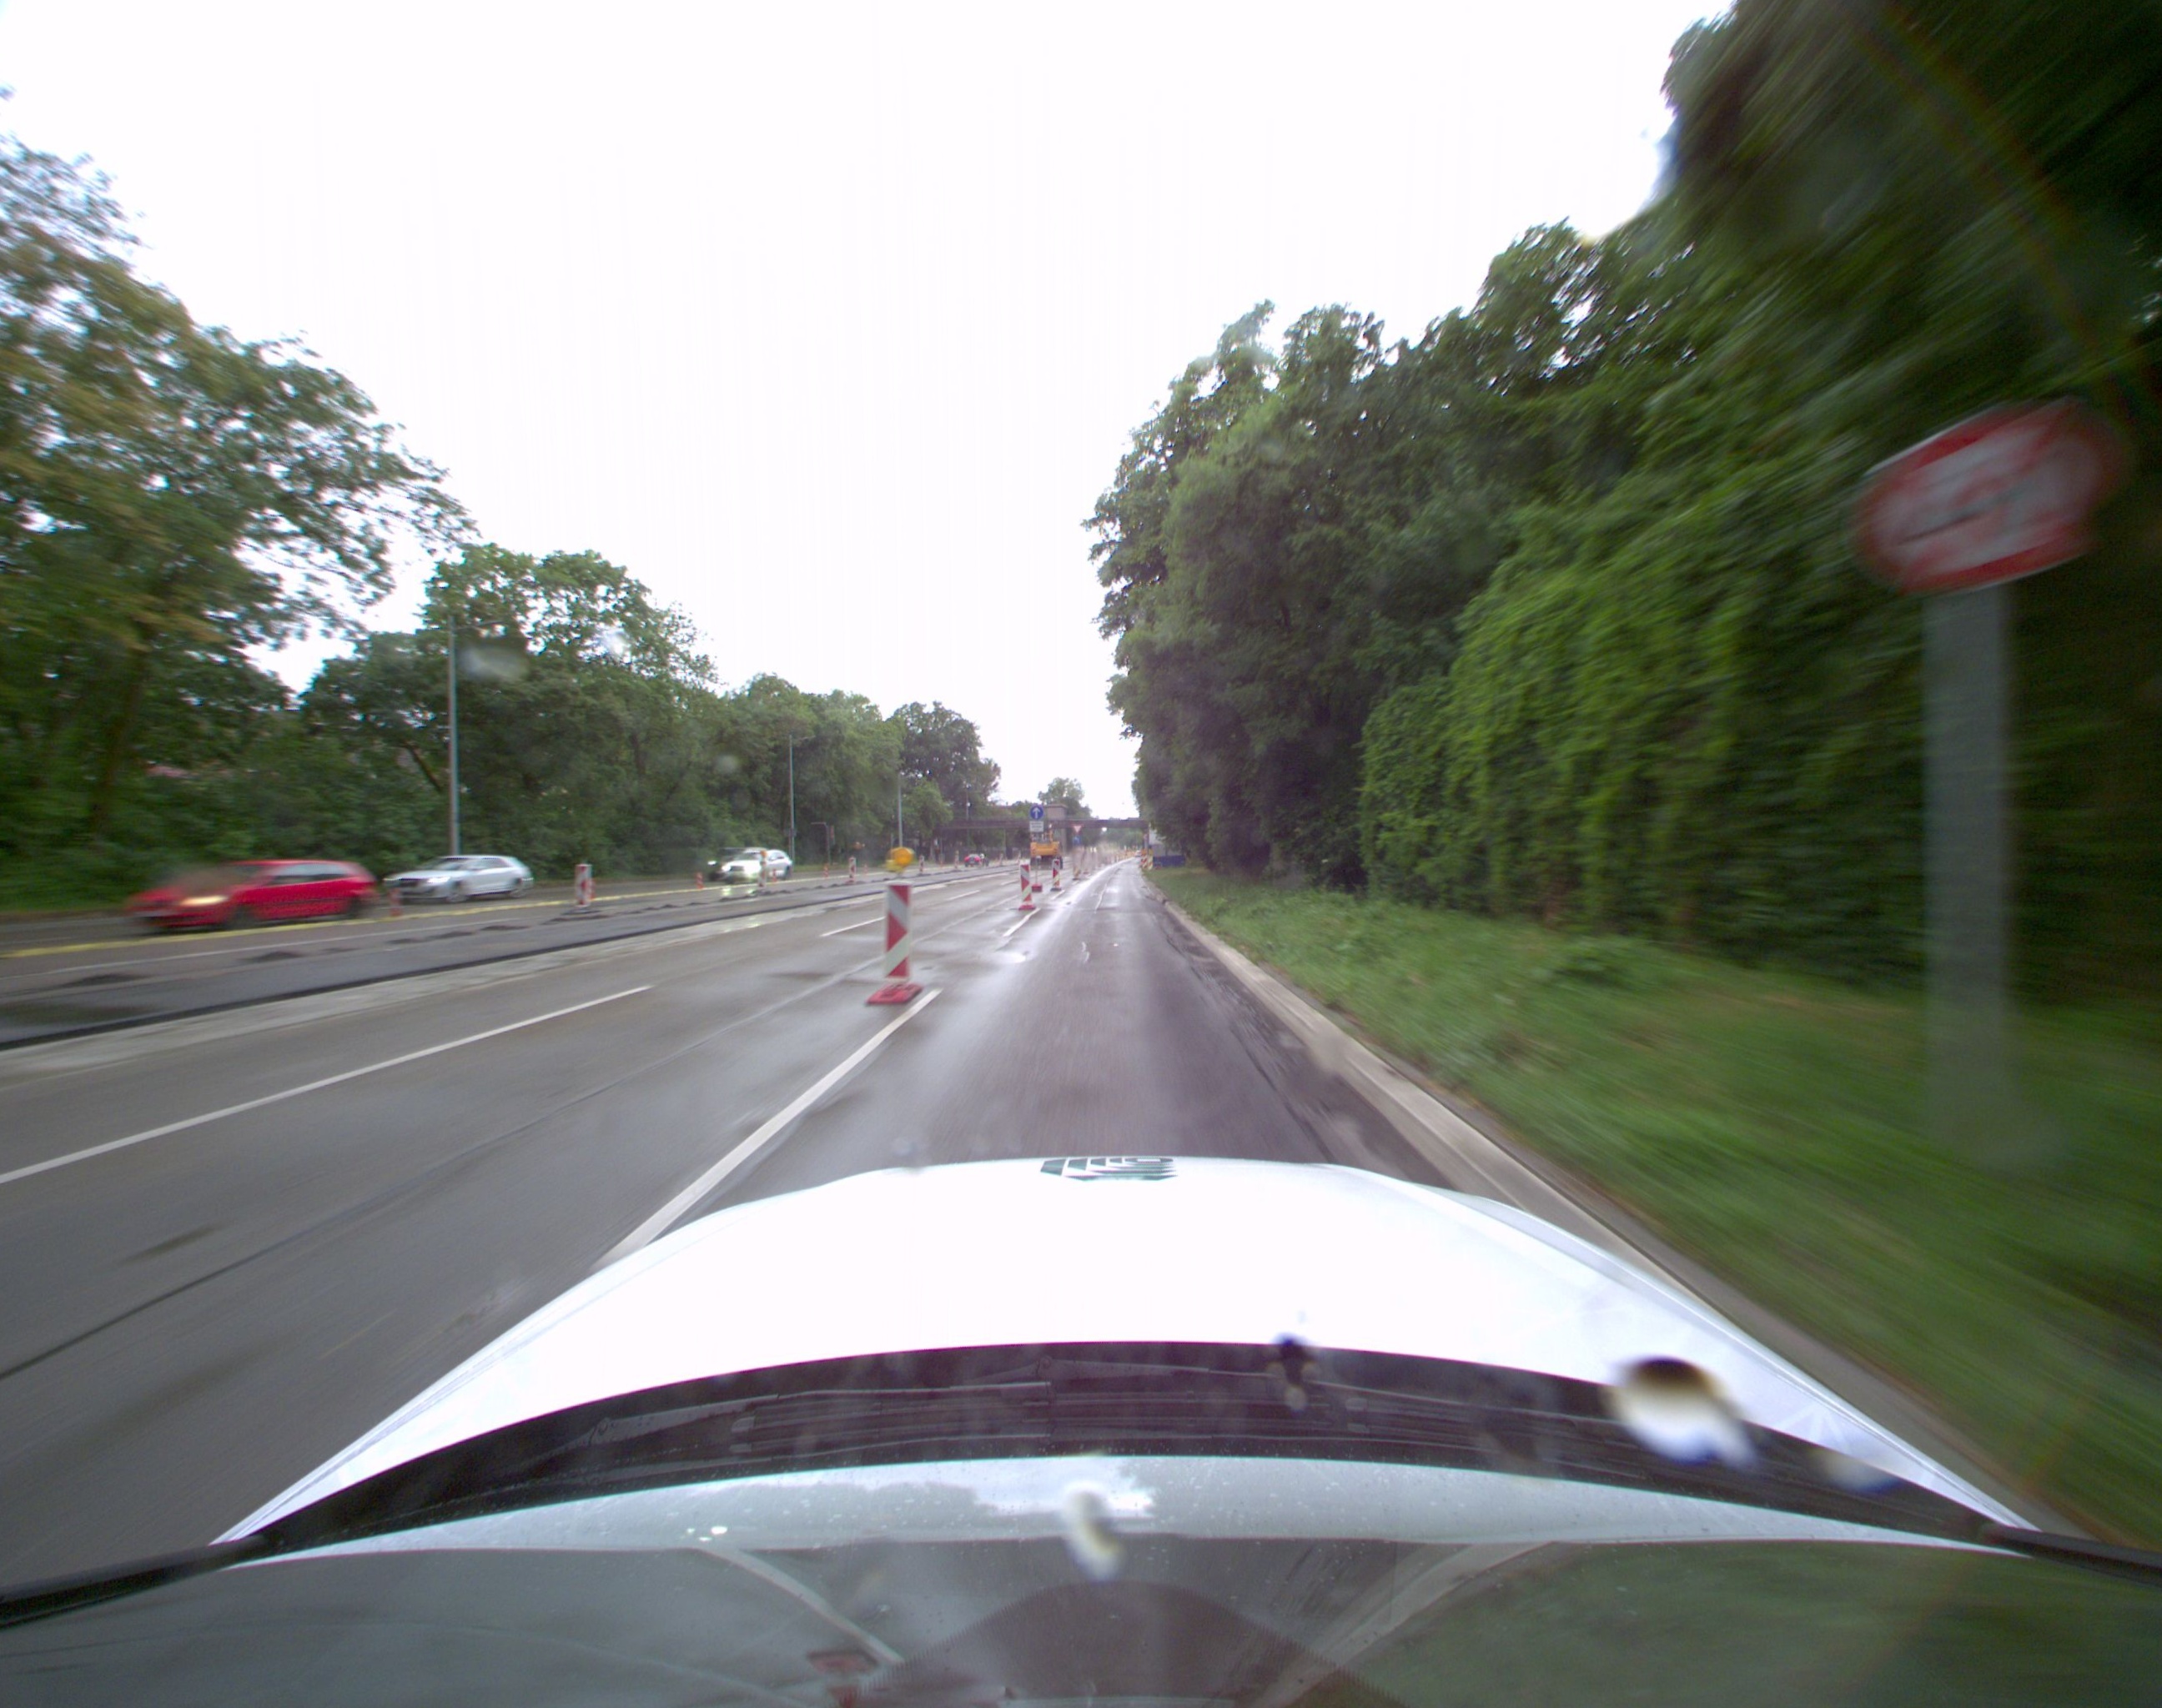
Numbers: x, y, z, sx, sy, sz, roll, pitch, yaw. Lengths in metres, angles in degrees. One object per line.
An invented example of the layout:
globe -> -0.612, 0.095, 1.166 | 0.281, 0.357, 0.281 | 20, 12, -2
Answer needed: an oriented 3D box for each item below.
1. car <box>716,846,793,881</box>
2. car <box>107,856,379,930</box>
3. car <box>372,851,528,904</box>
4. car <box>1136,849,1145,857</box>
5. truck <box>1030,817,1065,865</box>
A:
car -> -16.700, 0.454, 41.984 | 1.883, 1.661, 4.895 | 0, 0, 2
car -> -17.896, 0.753, 17.709 | 1.673, 1.400, 4.014 | 0, 0, 2
car -> -20.254, 0.699, 26.395 | 1.673, 1.496, 4.151 | -3, 0, 2
car -> 13.327, -0.179, 181.397 | 1.984, 1.640, 4.005 | -2, 0, 5
truck -> -3.089, -1.202, 77.223 | 2.888, 4.259, 10.754 | 0, 0, 0
